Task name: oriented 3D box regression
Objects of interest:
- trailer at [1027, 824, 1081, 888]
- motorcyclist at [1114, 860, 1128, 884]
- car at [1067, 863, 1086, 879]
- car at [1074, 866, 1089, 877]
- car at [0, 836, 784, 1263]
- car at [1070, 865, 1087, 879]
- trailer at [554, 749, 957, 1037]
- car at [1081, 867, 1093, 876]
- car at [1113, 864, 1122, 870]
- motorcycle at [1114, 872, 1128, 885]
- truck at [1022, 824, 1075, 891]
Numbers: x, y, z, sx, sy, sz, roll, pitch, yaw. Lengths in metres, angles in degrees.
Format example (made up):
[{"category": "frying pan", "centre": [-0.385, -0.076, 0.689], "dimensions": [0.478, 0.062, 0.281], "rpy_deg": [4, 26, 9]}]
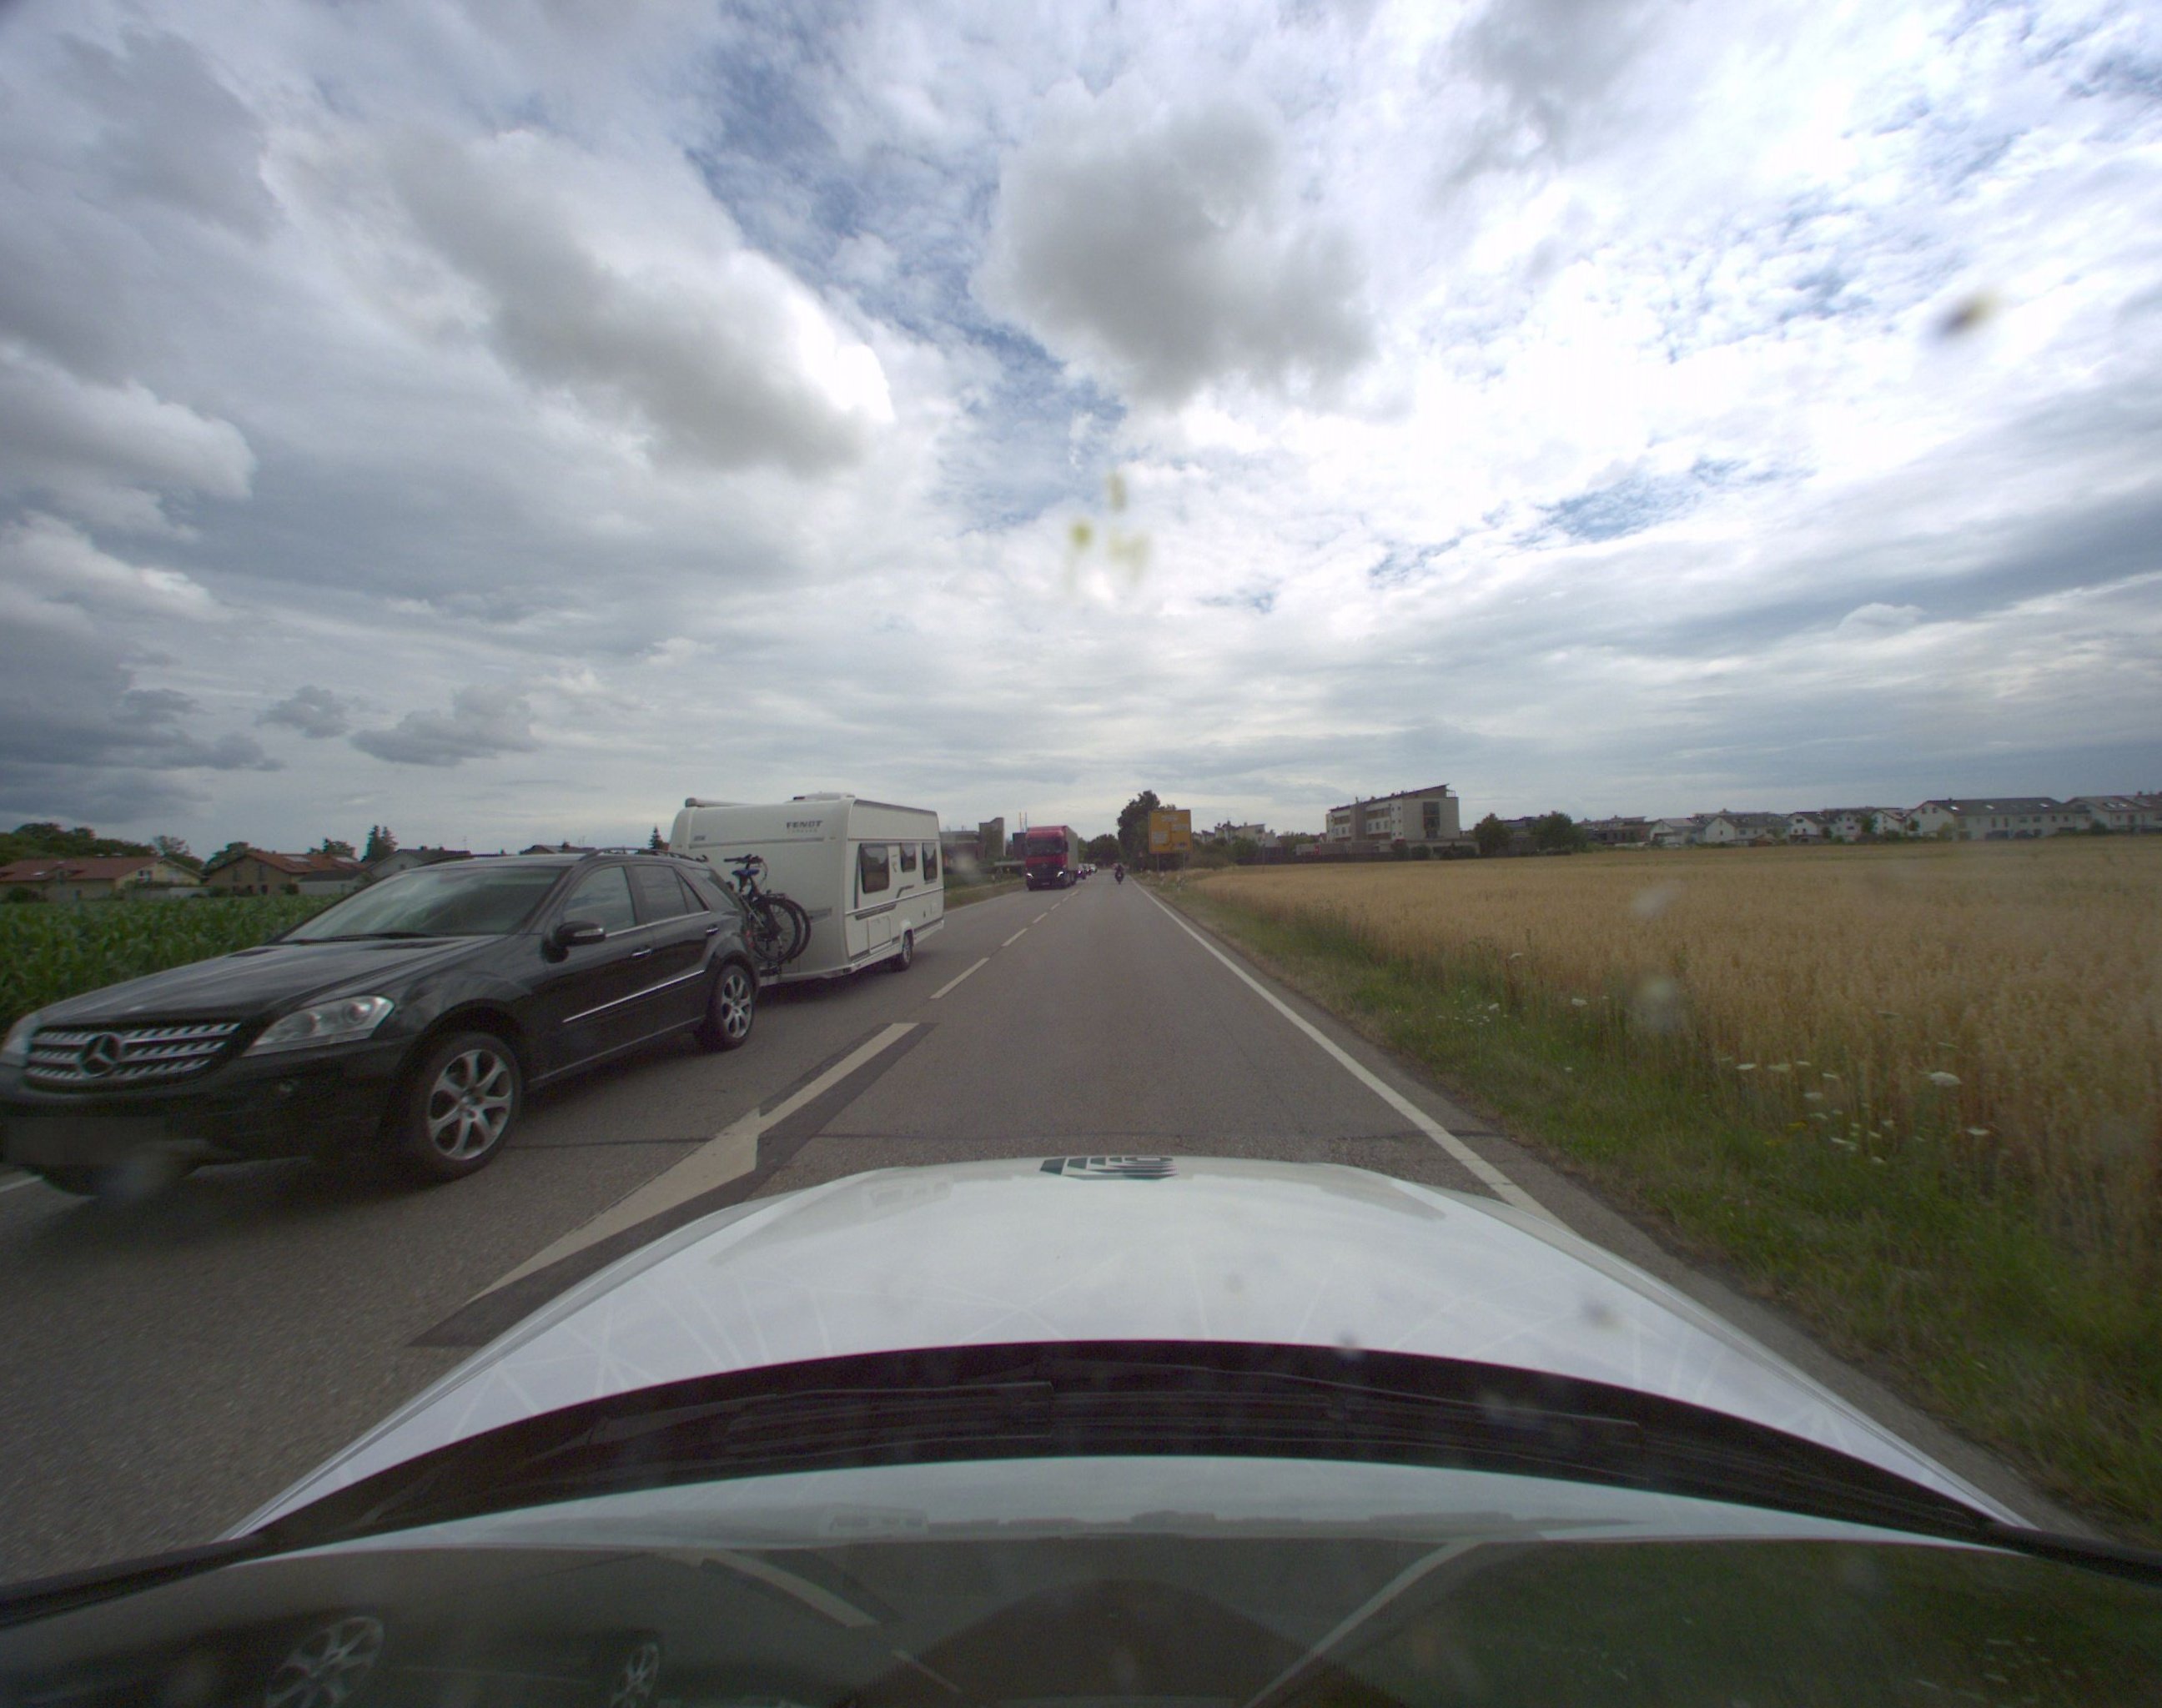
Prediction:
[{"category": "trailer", "centre": [-1.739, 0.215, 59.350], "dimensions": [2.718, 3.946, 13.790], "rpy_deg": [-3, -1, 3]}, {"category": "motorcyclist", "centre": [2.984, 1.339, 60.912], "dimensions": [0.937, 1.750, 1.201], "rpy_deg": [-2, -1, 2]}, {"category": "car", "centre": [-0.423, 1.668, 81.414], "dimensions": [1.849, 1.472, 4.000], "rpy_deg": [-2, -1, 1]}, {"category": "car", "centre": [0.083, 2.398, 111.248], "dimensions": [1.849, 1.472, 4.000], "rpy_deg": [-2, -1, 1]}, {"category": "car", "centre": [-4.021, 0.836, 5.680], "dimensions": [1.986, 1.699, 4.677], "rpy_deg": [-2, -1, 2]}, {"category": "car", "centre": [-0.284, 2.092, 95.194], "dimensions": [1.849, 1.472, 4.000], "rpy_deg": [-2, -1, 1]}, {"category": "trailer", "centre": [-3.791, 0.419, 11.881], "dimensions": [2.315, 2.729, 7.848], "rpy_deg": [-2, -1, 3]}, {"category": "car", "centre": [1.008, 2.829, 132.821], "dimensions": [1.849, 1.472, 4.000], "rpy_deg": [-2, -1, 1]}, {"category": "car", "centre": [8.698, 3.087, 194.136], "dimensions": [1.848, 1.472, 4.002], "rpy_deg": [-2, -1, 2]}, {"category": "motorcycle", "centre": [2.986, 1.801, 60.855], "dimensions": [0.937, 0.890, 2.147], "rpy_deg": [-2, -1, 2]}, {"category": "truck", "centre": [-2.032, 0.240, 53.179], "dimensions": [2.718, 3.987, 6.820], "rpy_deg": [-3, -1, 3]}]
